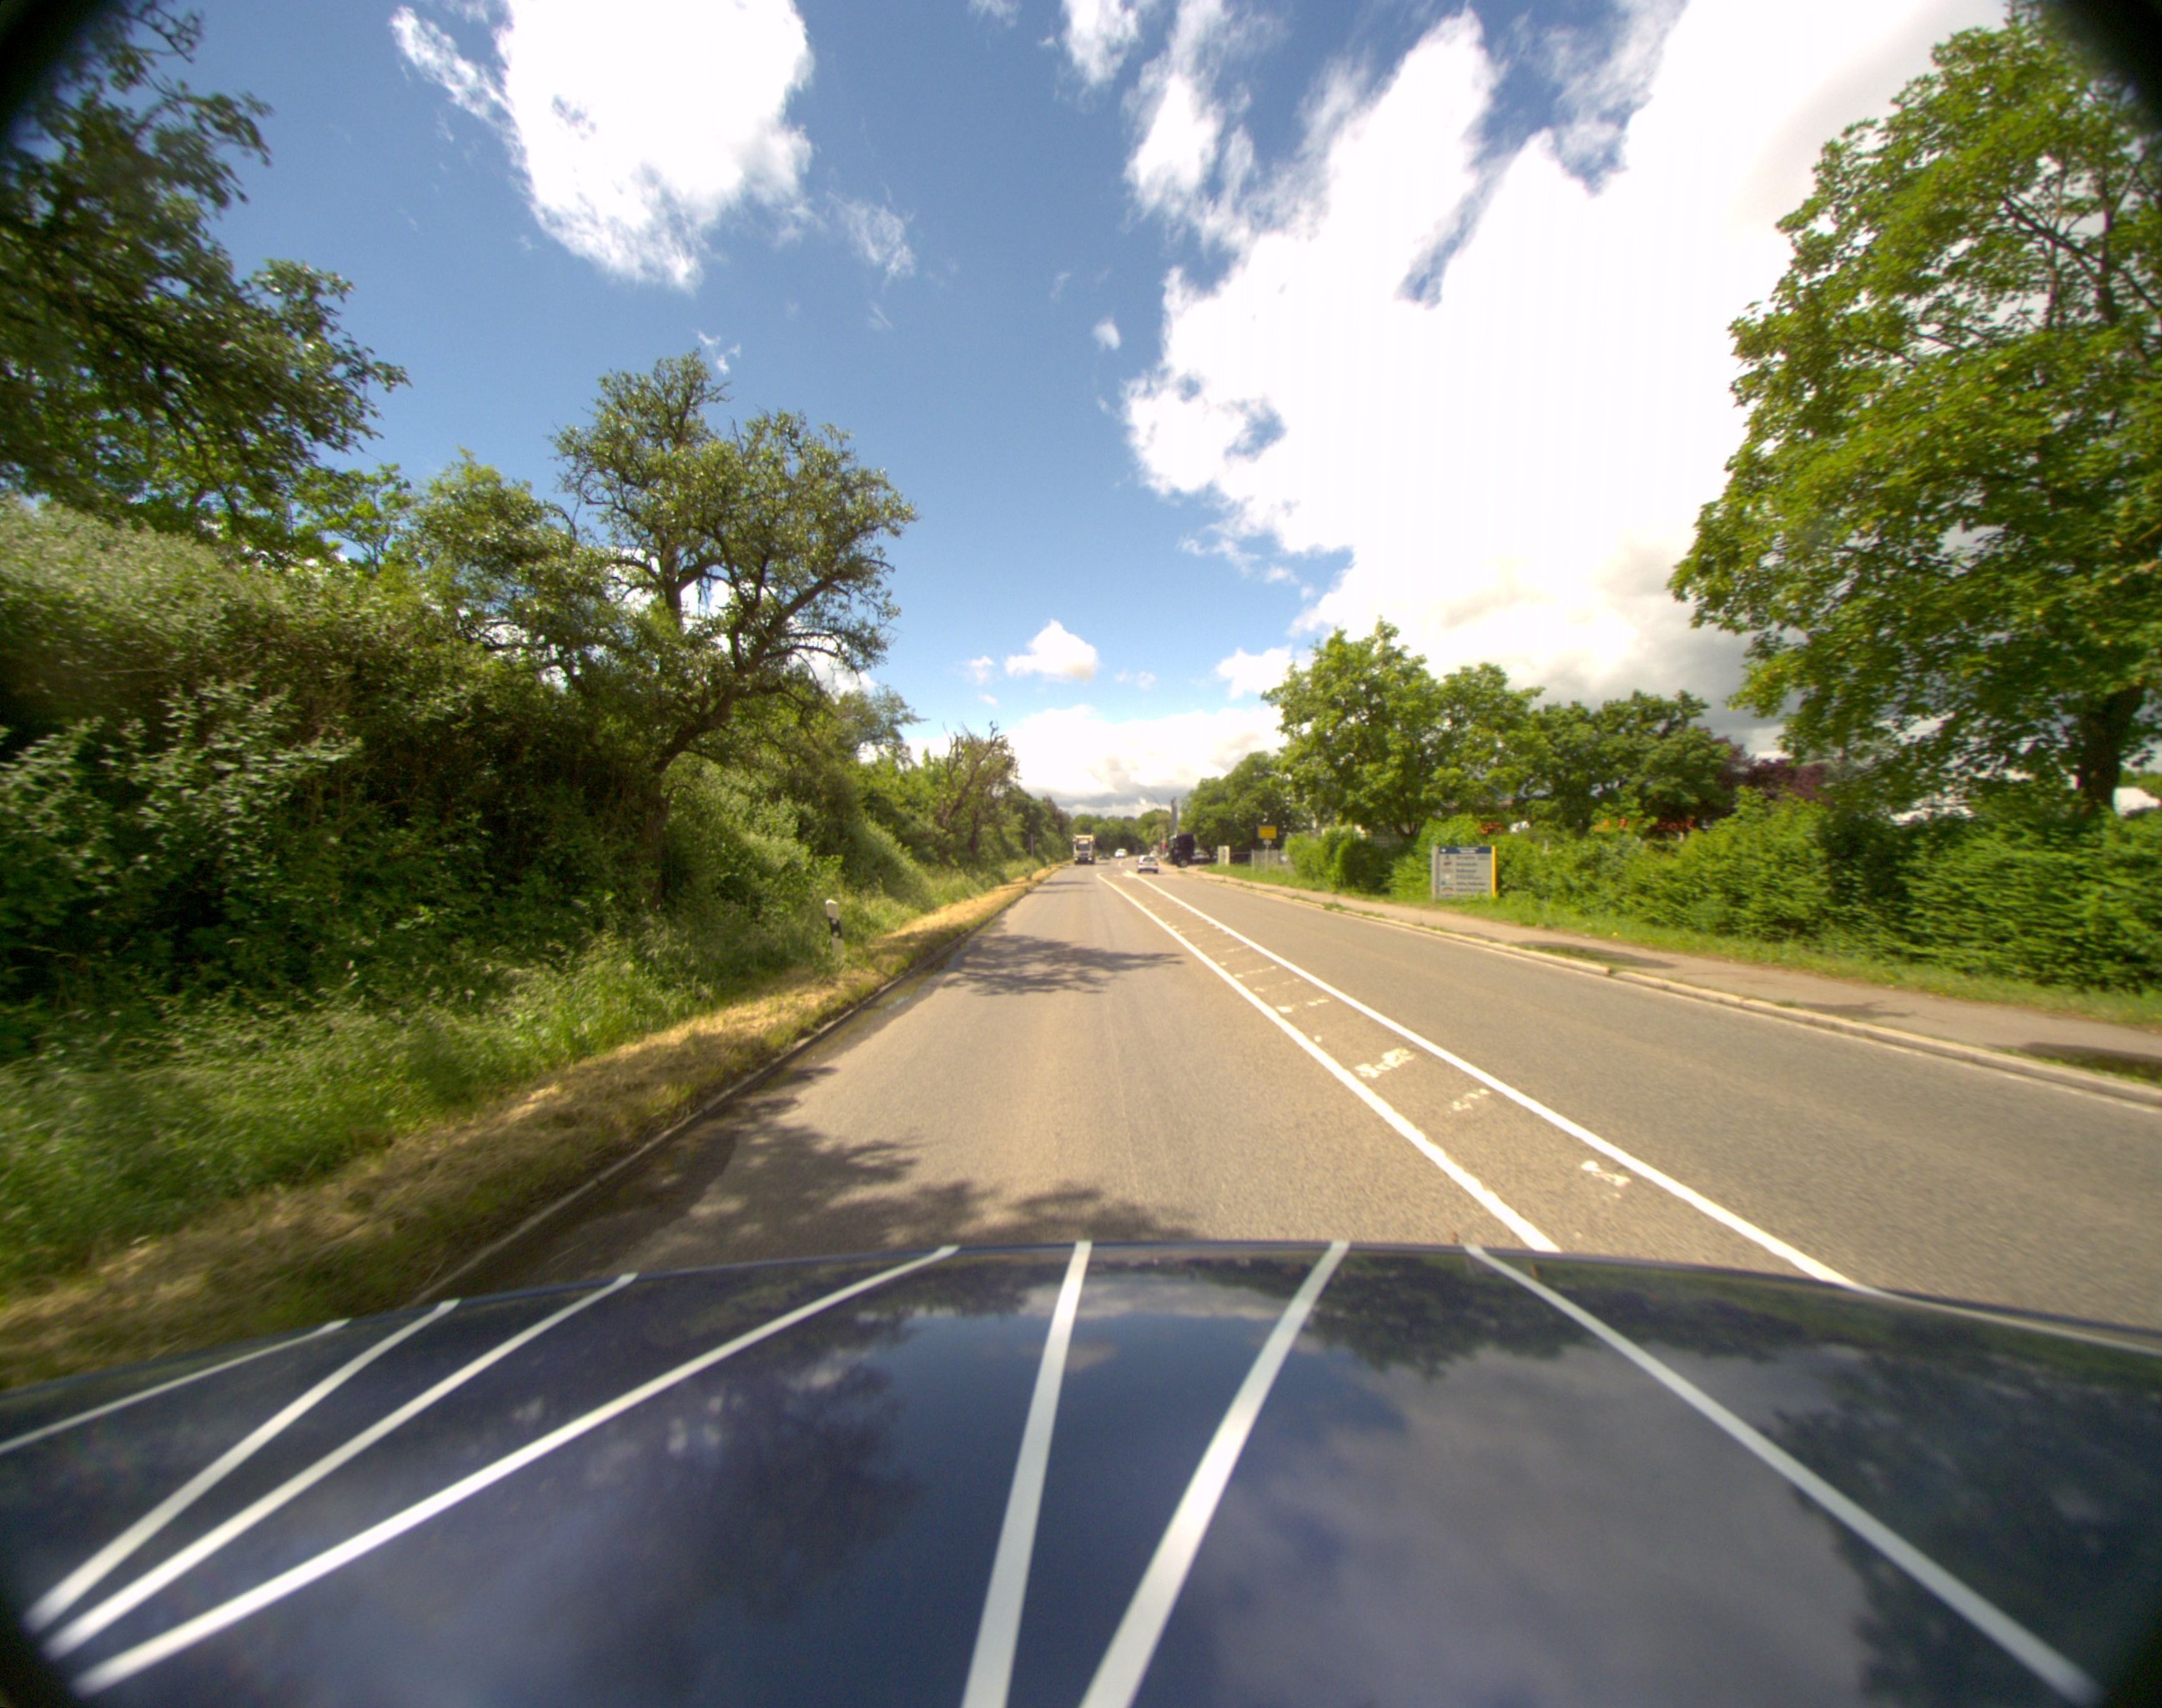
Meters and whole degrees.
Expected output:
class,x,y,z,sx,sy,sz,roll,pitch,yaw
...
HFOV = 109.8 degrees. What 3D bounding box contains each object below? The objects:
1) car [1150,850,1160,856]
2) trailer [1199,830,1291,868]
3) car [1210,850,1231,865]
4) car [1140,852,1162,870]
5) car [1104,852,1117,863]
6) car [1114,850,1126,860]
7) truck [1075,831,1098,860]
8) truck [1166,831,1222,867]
class,x,y,z,sx,sy,sz,roll,pitch,yaw
car,17.632,-0.245,180.897,1.996,1.442,4.430,2,1,12
trailer,18.123,-0.584,84.230,9.472,4.059,3.315,0,1,-14
car,16.778,0.434,91.453,1.935,1.711,4.601,0,0,3
car,5.609,0.562,61.411,1.664,1.423,3.694,1,0,3
car,5.342,0.617,138.237,1.953,2.002,4.002,0,0,7
car,8.359,0.244,161.522,1.952,2.002,4.004,0,0,13
truck,0.751,-1.112,101.591,2.904,3.746,9.634,0,1,1
truck,12.262,-0.524,82.919,5.570,3.801,2.983,0,1,-3
